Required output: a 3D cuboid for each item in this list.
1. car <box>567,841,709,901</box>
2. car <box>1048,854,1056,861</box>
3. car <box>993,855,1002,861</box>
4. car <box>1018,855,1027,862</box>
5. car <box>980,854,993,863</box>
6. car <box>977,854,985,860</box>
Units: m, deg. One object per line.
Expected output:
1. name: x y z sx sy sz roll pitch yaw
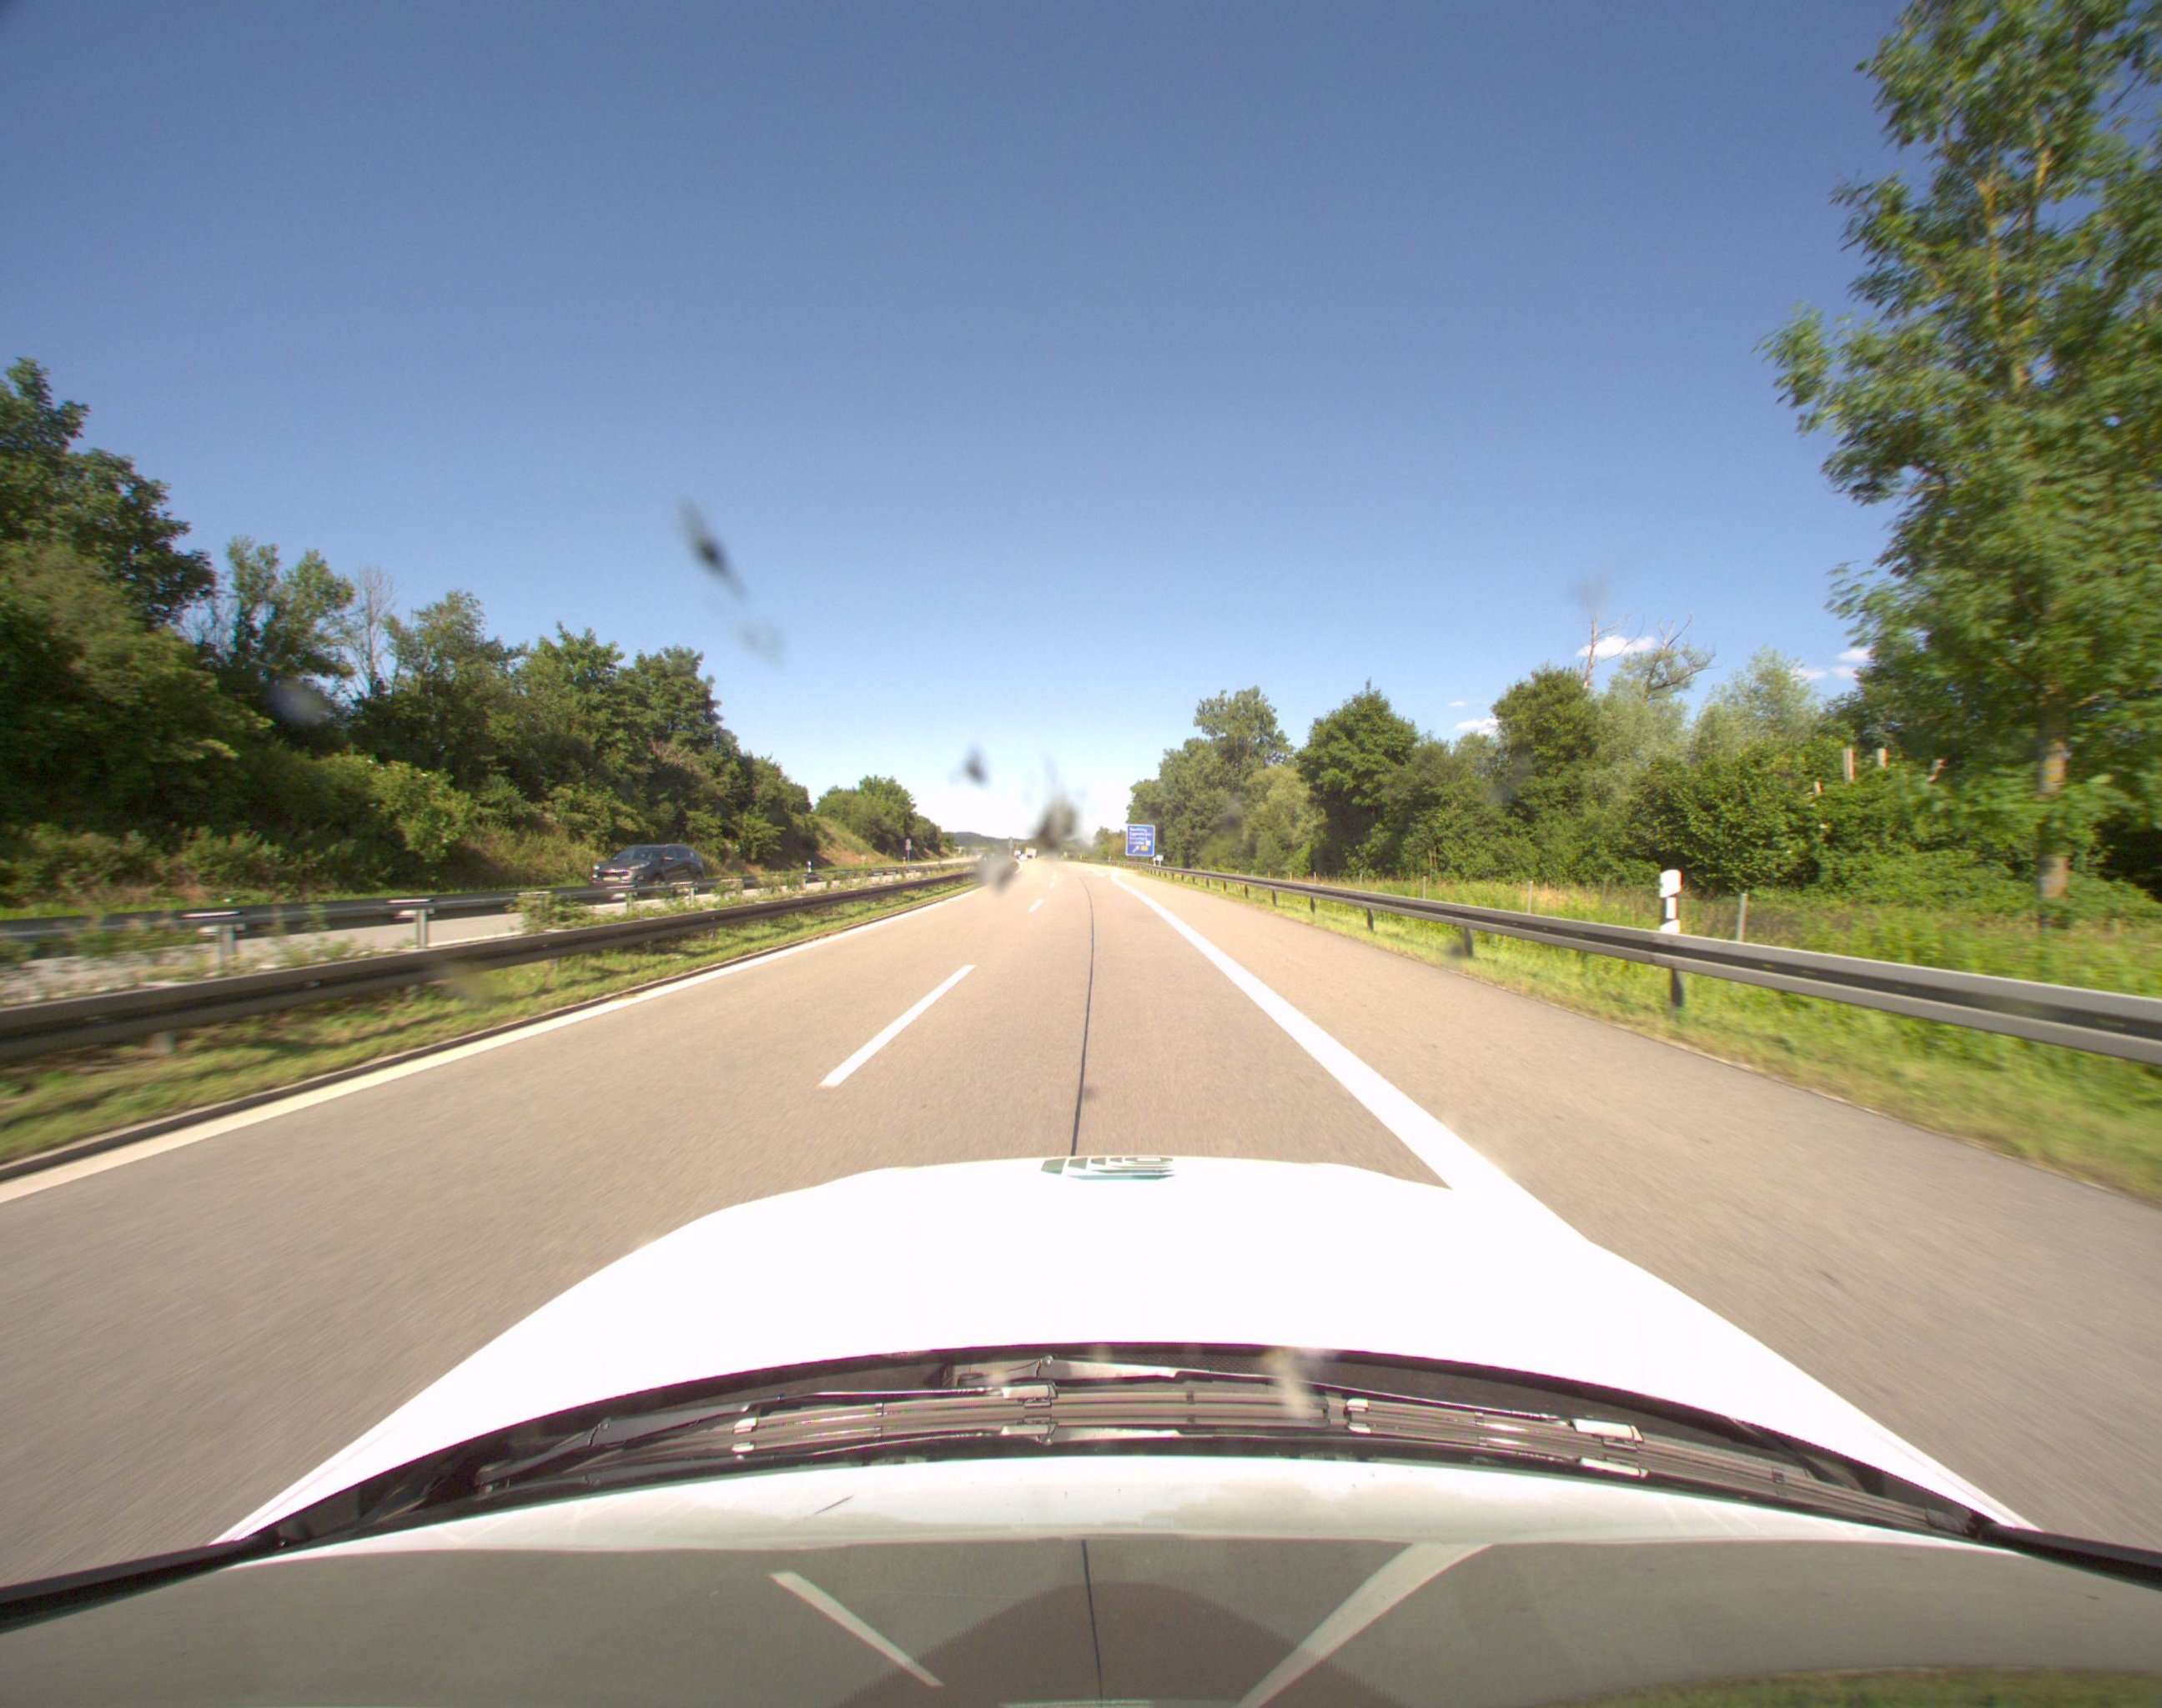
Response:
1. car: -13.582 0.486 25.323 1.987 1.651 4.432 -1 0 -1
2. car: -7.363 0.907 205.142 1.777 1.431 4.000 4 -1 1
3. car: -20.660 0.985 202.483 1.990 1.545 4.669 -1 0 -4
4. car: -13.832 1.038 193.334 2.059 1.625 3.991 0 -2 -6
5. car: -15.268 0.759 131.824 1.640 1.455 4.902 0 -1 -2
6. car: -24.995 0.795 203.626 1.836 1.439 4.405 0 0 -5
